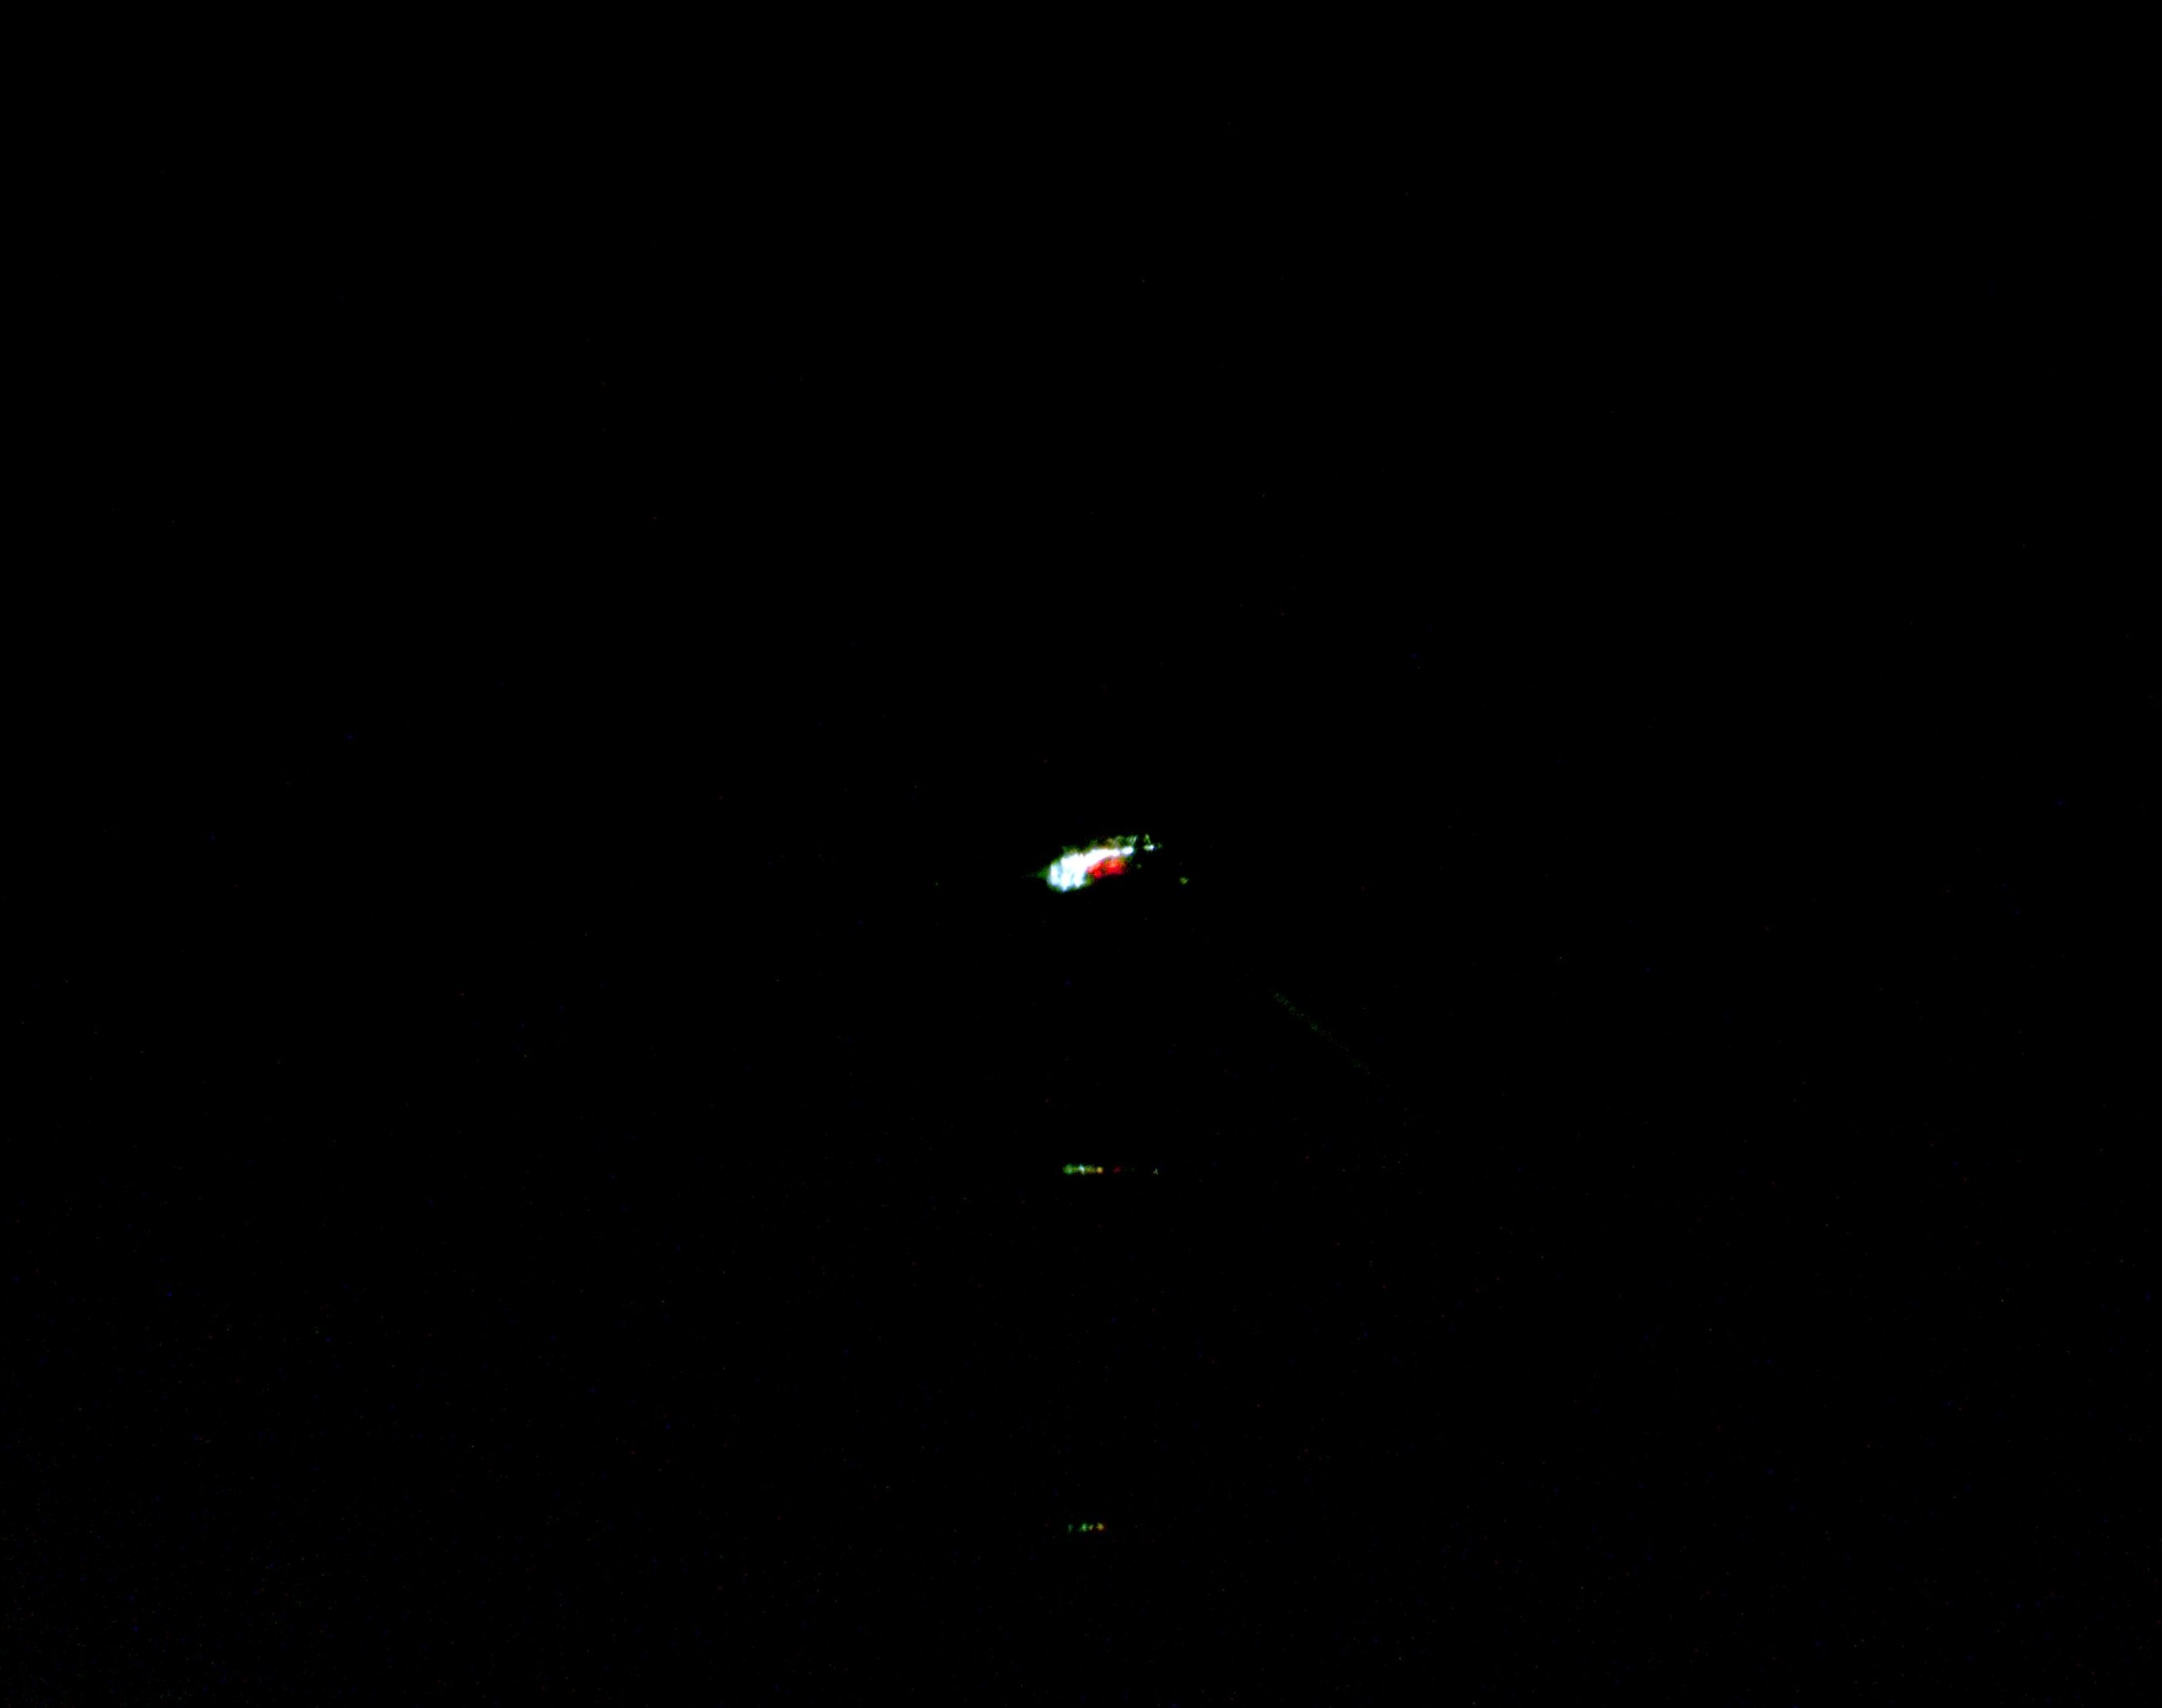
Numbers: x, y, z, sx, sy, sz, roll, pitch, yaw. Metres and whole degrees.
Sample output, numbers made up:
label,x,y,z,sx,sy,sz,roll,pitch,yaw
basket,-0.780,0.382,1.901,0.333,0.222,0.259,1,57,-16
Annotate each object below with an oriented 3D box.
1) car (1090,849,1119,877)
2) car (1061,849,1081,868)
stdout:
label,x,y,z,sx,sy,sz,roll,pitch,yaw
car,1.564,0.596,54.830,1.836,1.740,4.001,0,1,1
car,-1.056,0.542,89.339,1.986,2.014,4.002,-1,-1,2
